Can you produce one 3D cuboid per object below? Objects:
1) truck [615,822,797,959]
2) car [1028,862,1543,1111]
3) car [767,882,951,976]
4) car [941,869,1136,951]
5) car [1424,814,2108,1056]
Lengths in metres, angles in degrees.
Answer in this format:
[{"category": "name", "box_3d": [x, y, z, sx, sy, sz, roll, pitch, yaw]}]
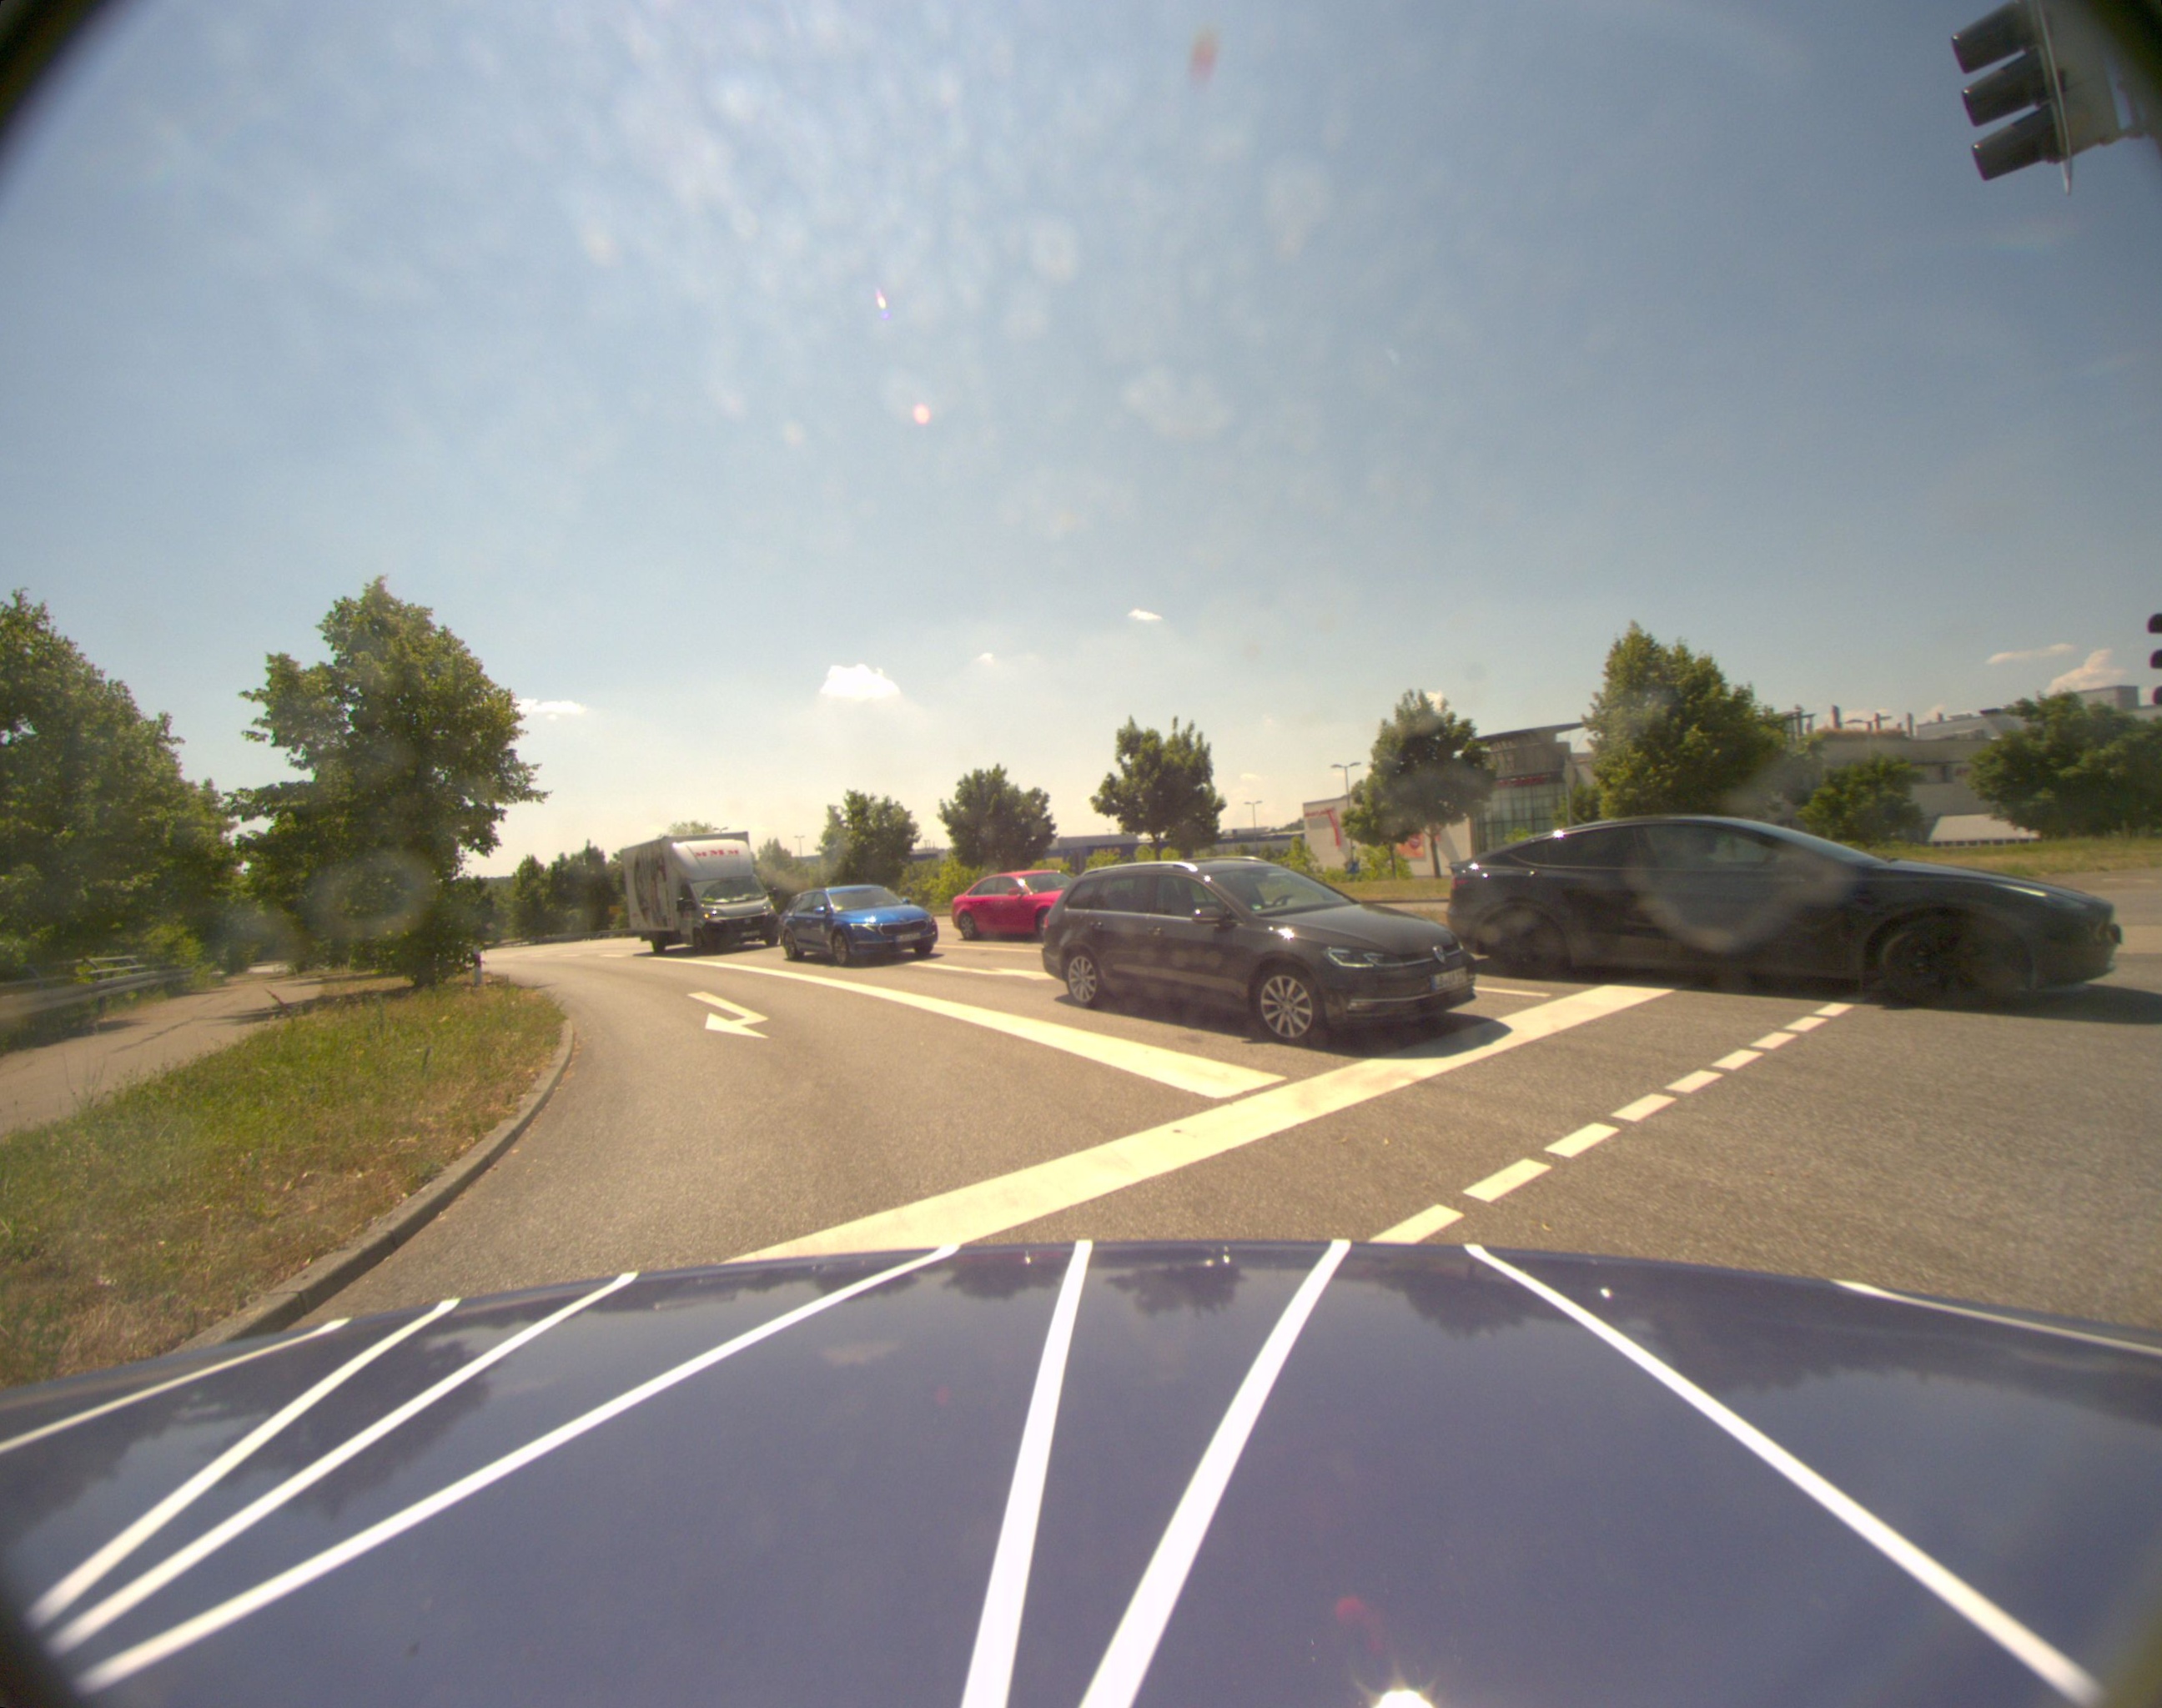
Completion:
[{"category": "truck", "box_3d": [-11.205, 1.161, 22.303, 2.420, 3.327, 7.186, -5, -1, -44]}, {"category": "car", "box_3d": [1.509, 0.917, 7.124, 1.786, 1.474, 4.418, -4, 1, -37]}, {"category": "car", "box_3d": [-4.563, 1.439, 15.120, 1.716, 1.454, 4.479, -5, -1, -41]}, {"category": "car", "box_3d": [-1.040, 1.132, 15.995, 1.669, 1.380, 4.439, -4, 0, -40]}, {"category": "car", "box_3d": [6.035, 0.585, 7.376, 1.884, 1.591, 4.494, -4, 1, -42]}]
